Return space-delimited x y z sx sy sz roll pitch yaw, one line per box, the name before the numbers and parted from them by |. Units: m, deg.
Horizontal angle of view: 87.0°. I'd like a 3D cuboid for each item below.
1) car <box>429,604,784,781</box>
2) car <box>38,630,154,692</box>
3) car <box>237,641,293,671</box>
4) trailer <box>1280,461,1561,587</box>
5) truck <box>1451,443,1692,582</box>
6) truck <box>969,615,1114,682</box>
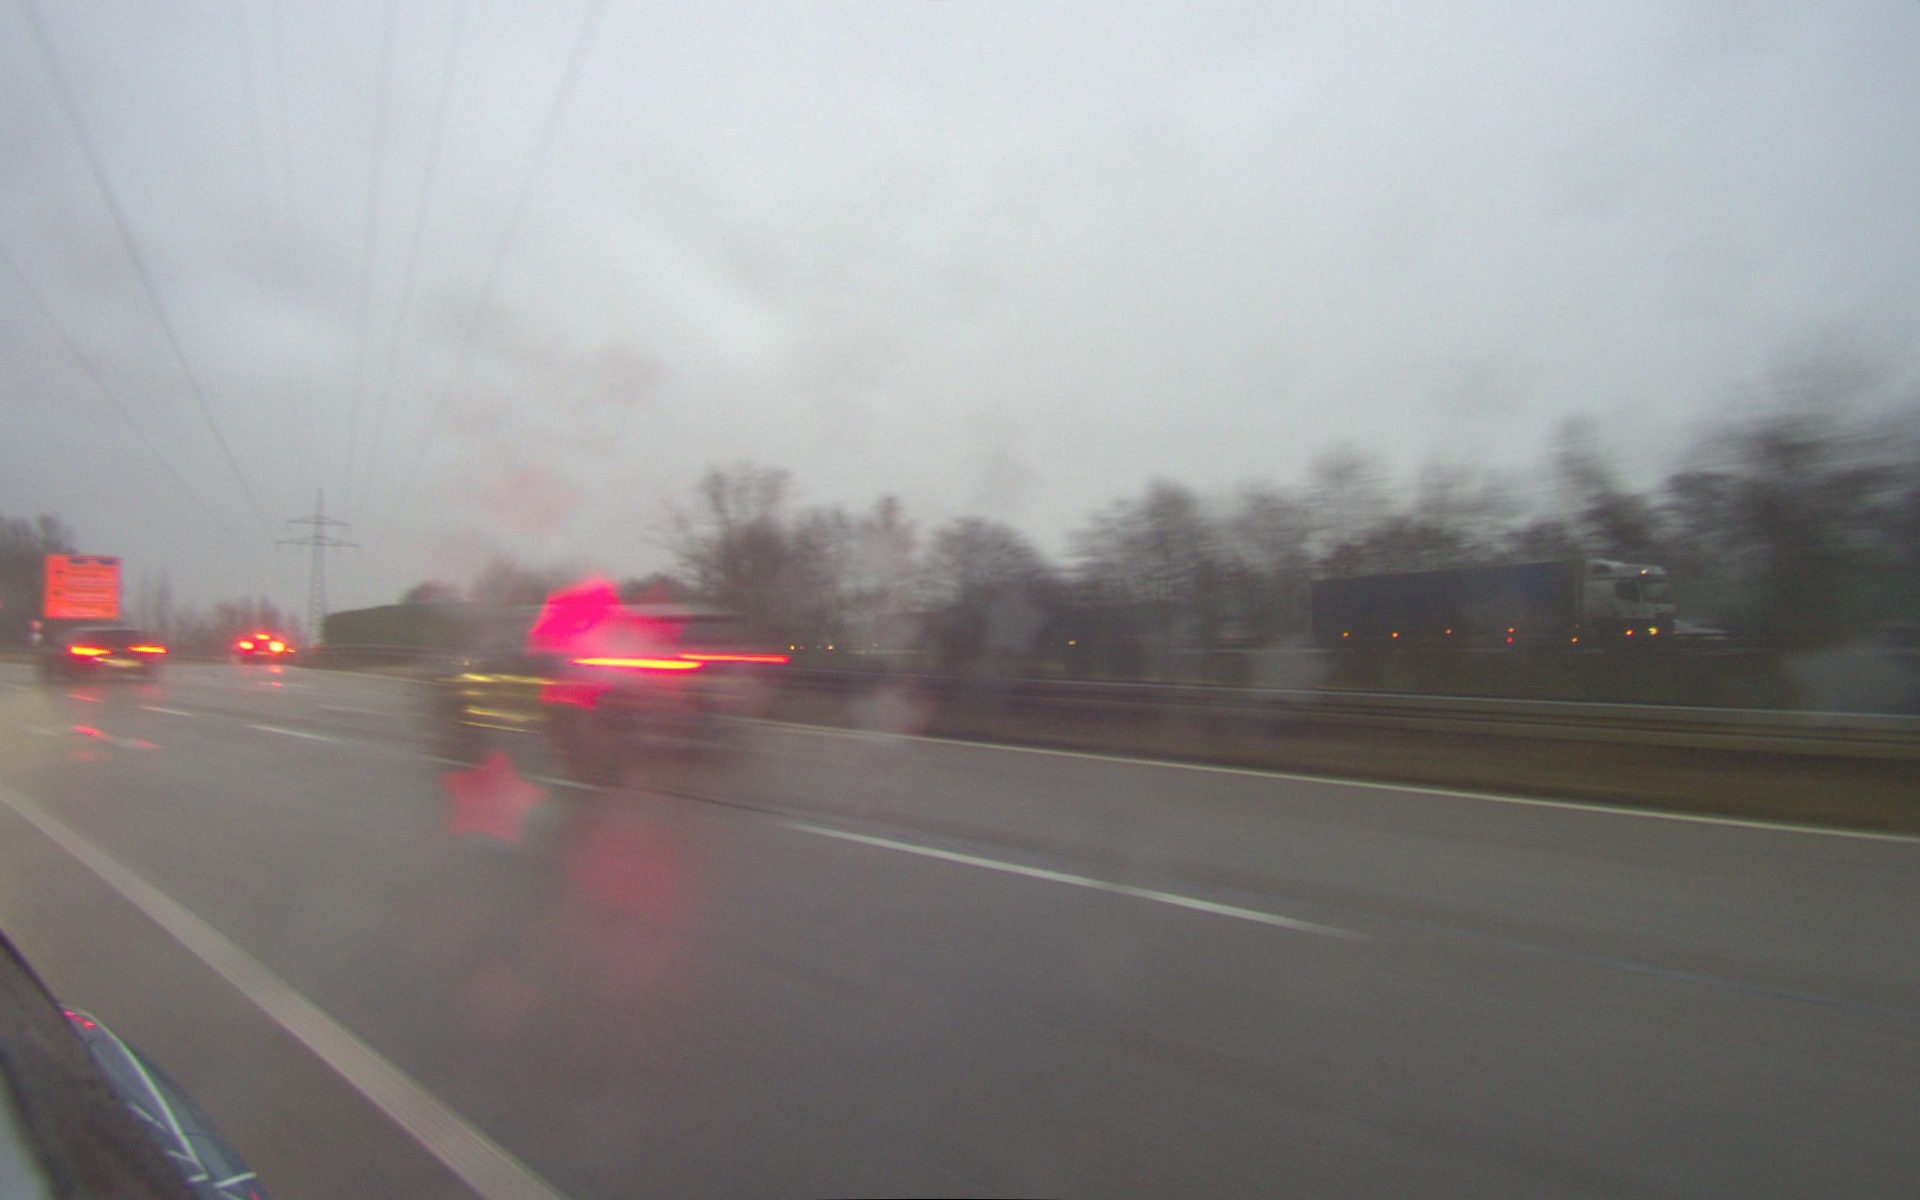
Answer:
car | -4.108 0.884 11.389 4.380 1.602 1.869 -1 -1 41
car | -22.752 1.561 26.594 4.445 1.483 1.619 -2 -2 40
car | -33.857 2.715 49.404 1.573 1.253 4.013 -2 0 -25
trailer | 22.508 -3.431 50.901 3.256 5.142 13.267 1 -1 -32
truck | 26.561 -3.538 44.503 3.230 5.169 8.542 1 -1 -33
truck | 5.875 3.520 77.560 3.231 4.645 13.913 1 -1 -33
